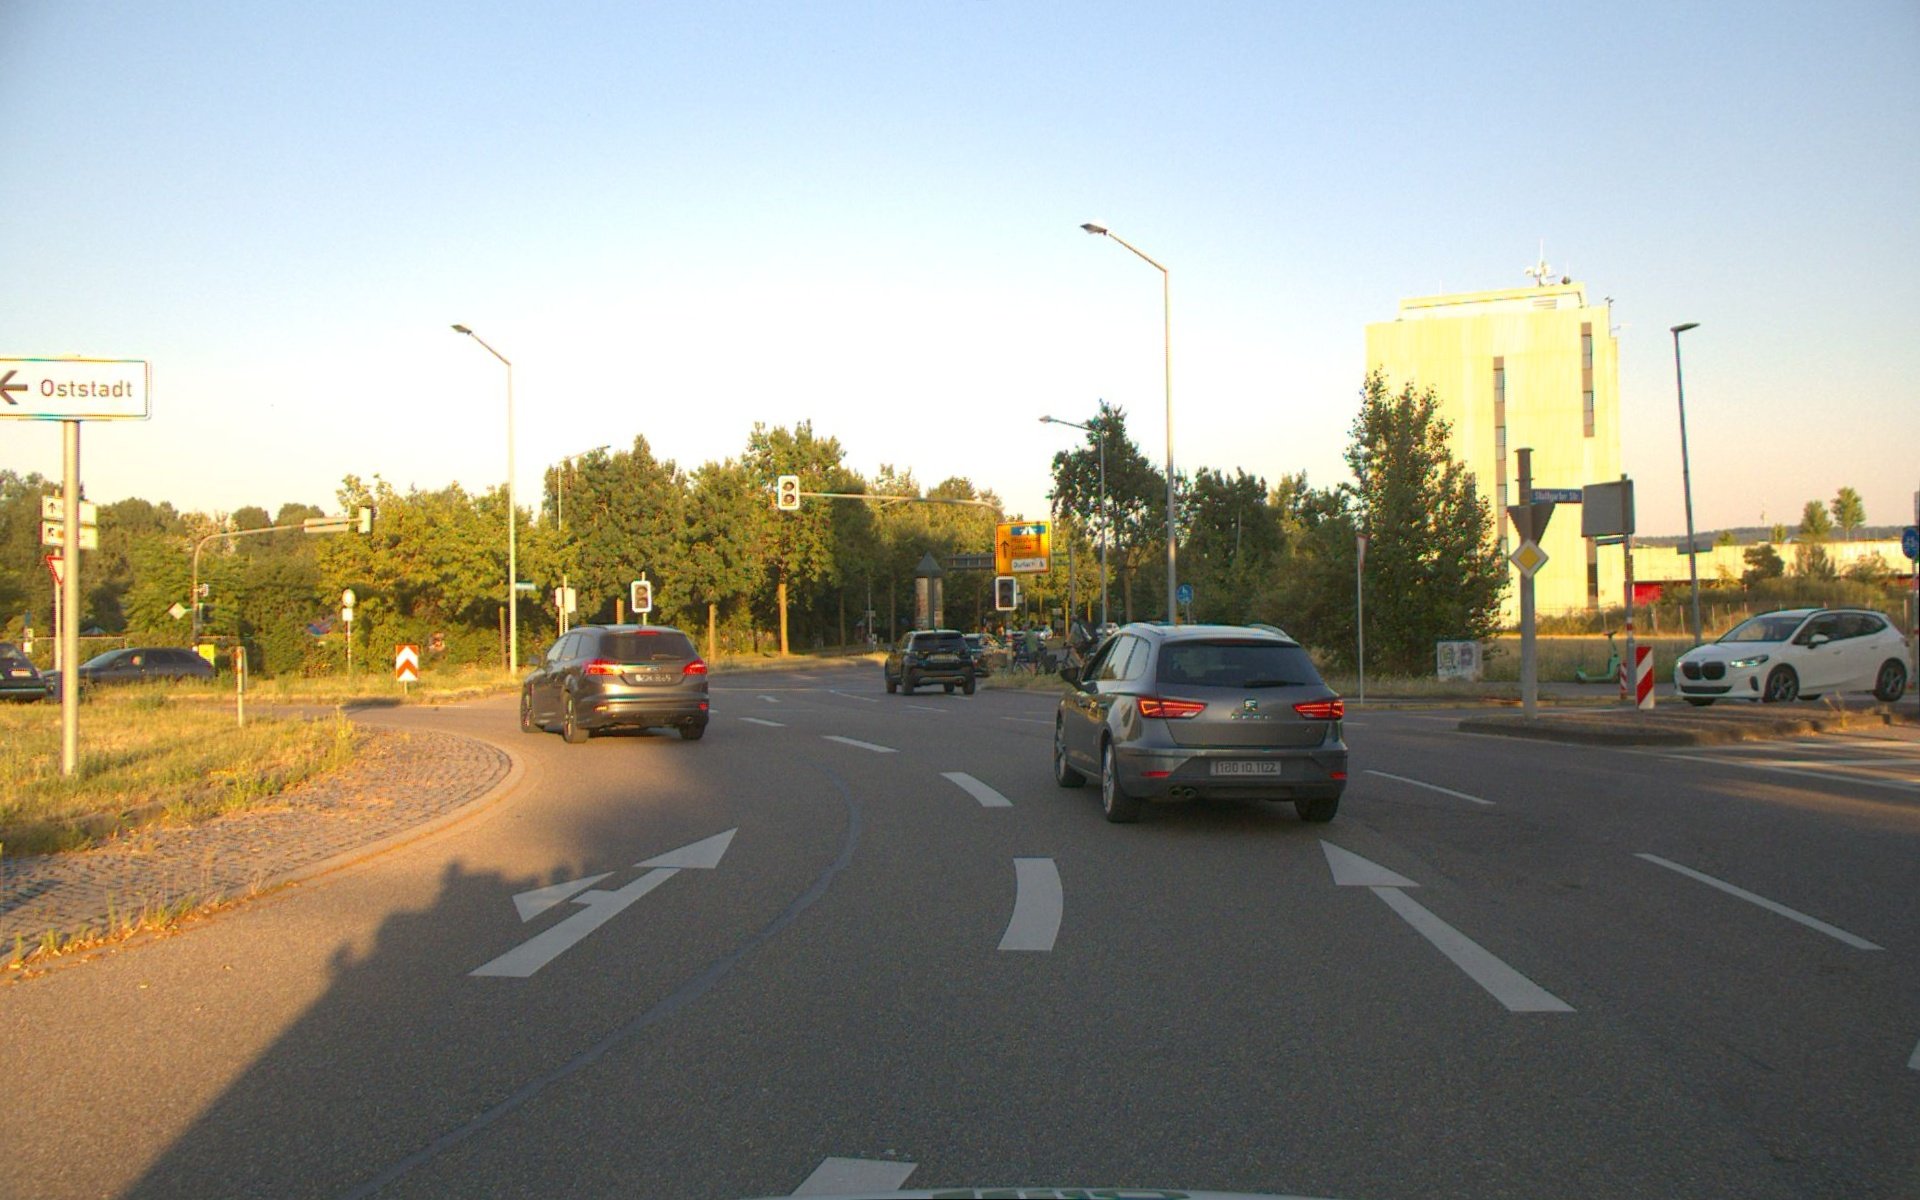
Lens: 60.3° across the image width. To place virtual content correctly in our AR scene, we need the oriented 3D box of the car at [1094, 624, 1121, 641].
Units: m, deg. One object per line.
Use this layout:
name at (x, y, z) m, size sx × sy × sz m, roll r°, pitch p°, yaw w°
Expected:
car at (13.790, 3.052, 154.521) m, size 1.685 × 1.474 × 4.552 m, roll -1°, pitch -1°, yaw 16°

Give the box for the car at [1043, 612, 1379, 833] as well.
car at (1.803, 0.839, 13.197) m, size 1.712 × 1.449 × 4.130 m, roll -1°, pitch 0°, yaw -5°

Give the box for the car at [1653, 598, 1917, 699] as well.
car at (14.013, 0.807, 28.097) m, size 4.029 × 1.586 × 1.876 m, roll 0°, pitch -2°, yaw -25°

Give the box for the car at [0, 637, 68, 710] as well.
car at (-21.151, 1.558, 35.334) m, size 4.042 × 1.471 × 1.749 m, roll -1°, pitch -1°, yaw 28°

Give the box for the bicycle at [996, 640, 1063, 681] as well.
bicycle at (2.065, 1.813, 49.426) m, size 1.881 × 1.104 × 0.457 m, roll -4°, pitch -2°, yaw 15°

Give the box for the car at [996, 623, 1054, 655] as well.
car at (3.205, 1.894, 80.687) m, size 1.951 × 1.496 × 4.003 m, roll -1°, pitch -1°, yaw 16°

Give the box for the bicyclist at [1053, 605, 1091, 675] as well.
bicyclist at (3.163, 1.137, 46.805) m, size 0.888 × 1.931 × 0.642 m, roll -3°, pitch -1°, yaw 15°

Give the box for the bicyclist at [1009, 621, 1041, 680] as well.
bicyclist at (1.946, 1.512, 49.511) m, size 0.751 × 1.732 × 0.642 m, roll -4°, pitch -2°, yaw 15°

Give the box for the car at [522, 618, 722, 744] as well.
car at (-4.619, 1.012, 22.183) m, size 1.724 × 1.492 × 4.101 m, roll -1°, pitch -1°, yaw -25°

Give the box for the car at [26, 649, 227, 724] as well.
car at (-22.453, 2.290, 44.681) m, size 1.721 × 1.778 × 4.568 m, roll -1°, pitch -1°, yaw 42°

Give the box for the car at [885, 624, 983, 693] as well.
car at (-0.699, 1.401, 40.936) m, size 1.779 × 1.552 × 4.124 m, roll -1°, pitch 0°, yaw -10°

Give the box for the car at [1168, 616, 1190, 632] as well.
car at (25.552, 2.802, 192.938) m, size 1.876 × 1.785 × 4.924 m, roll -3°, pitch -2°, yaw 15°

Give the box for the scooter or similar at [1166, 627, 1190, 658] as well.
scooter or similar at (6.468, 1.258, 49.183) m, size 0.243 × 0.930 × 1.033 m, roll 0°, pitch -1°, yaw -20°

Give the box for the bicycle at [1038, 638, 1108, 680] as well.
bicycle at (3.201, 1.679, 46.807) m, size 1.881 × 1.104 × 0.457 m, roll -3°, pitch -1°, yaw 15°

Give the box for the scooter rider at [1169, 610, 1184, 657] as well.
scooter rider at (6.438, 0.994, 49.163) m, size 0.260 × 1.362 × 0.404 m, roll 0°, pitch -1°, yaw -21°

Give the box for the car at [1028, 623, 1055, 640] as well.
car at (7.183, 2.778, 145.636) m, size 1.516 × 1.468 × 3.488 m, roll -2°, pitch -2°, yaw 16°

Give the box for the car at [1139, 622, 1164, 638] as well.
car at (20.290, 3.200, 175.217) m, size 1.759 × 1.662 × 4.458 m, roll -2°, pitch -2°, yaw 17°

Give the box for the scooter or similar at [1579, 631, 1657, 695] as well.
scooter or similar at (12.596, 1.193, 31.689) m, size 0.438 × 1.183 × 1.365 m, roll 0°, pitch -1°, yaw -37°
